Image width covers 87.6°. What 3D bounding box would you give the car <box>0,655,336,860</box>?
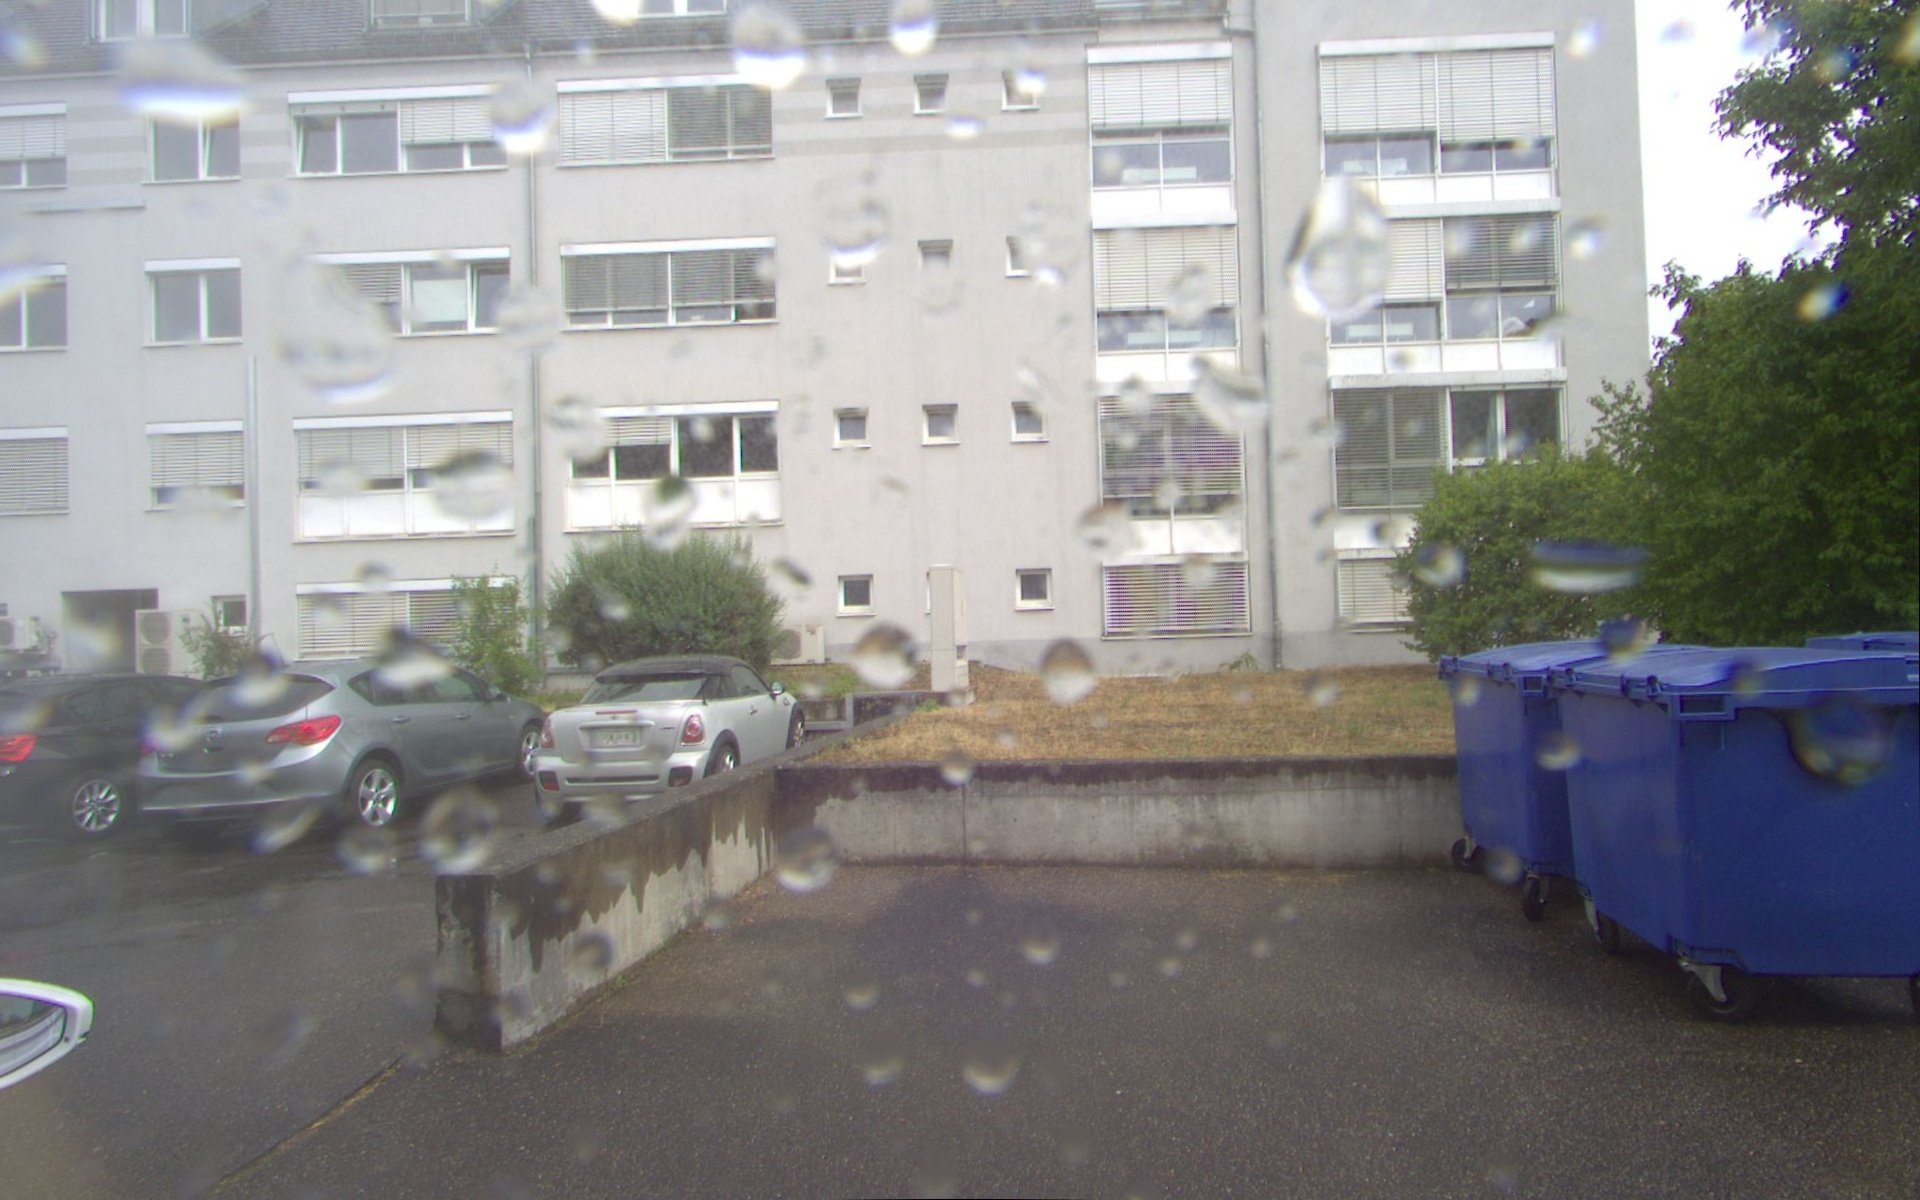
[{"bbox_3d":[-8.280,1.357,9.771,1.738,1.421,4.000,-1,-1,3],"label":"car"}]

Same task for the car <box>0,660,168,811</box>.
[{"bbox_3d":[-10.678,1.448,10.314,1.739,1.477,4.001,-2,-1,2],"label":"car"}]

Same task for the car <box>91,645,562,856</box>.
[{"bbox_3d":[-5.659,1.249,9.659,1.771,1.464,4.000,-2,-1,4],"label":"car"}]

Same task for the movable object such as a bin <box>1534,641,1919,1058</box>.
[{"bbox_3d":[3.150,0.853,3.968,1.062,1.321,1.376,-2,-1,9],"label":"movable object such as a bin"}]

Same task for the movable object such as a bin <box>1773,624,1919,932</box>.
[{"bbox_3d":[4.905,0.797,4.692,1.174,1.353,1.297,-2,-1,9],"label":"movable object such as a bin"}]

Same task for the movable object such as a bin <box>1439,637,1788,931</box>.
[{"bbox_3d":[3.295,0.881,5.228,1.085,1.321,1.189,-2,-1,8],"label":"movable object such as a bin"}]

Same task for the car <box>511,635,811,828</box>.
[{"bbox_3d":[-2.708,1.144,9.895,1.655,1.445,3.426,-2,-1,5],"label":"car"}]
